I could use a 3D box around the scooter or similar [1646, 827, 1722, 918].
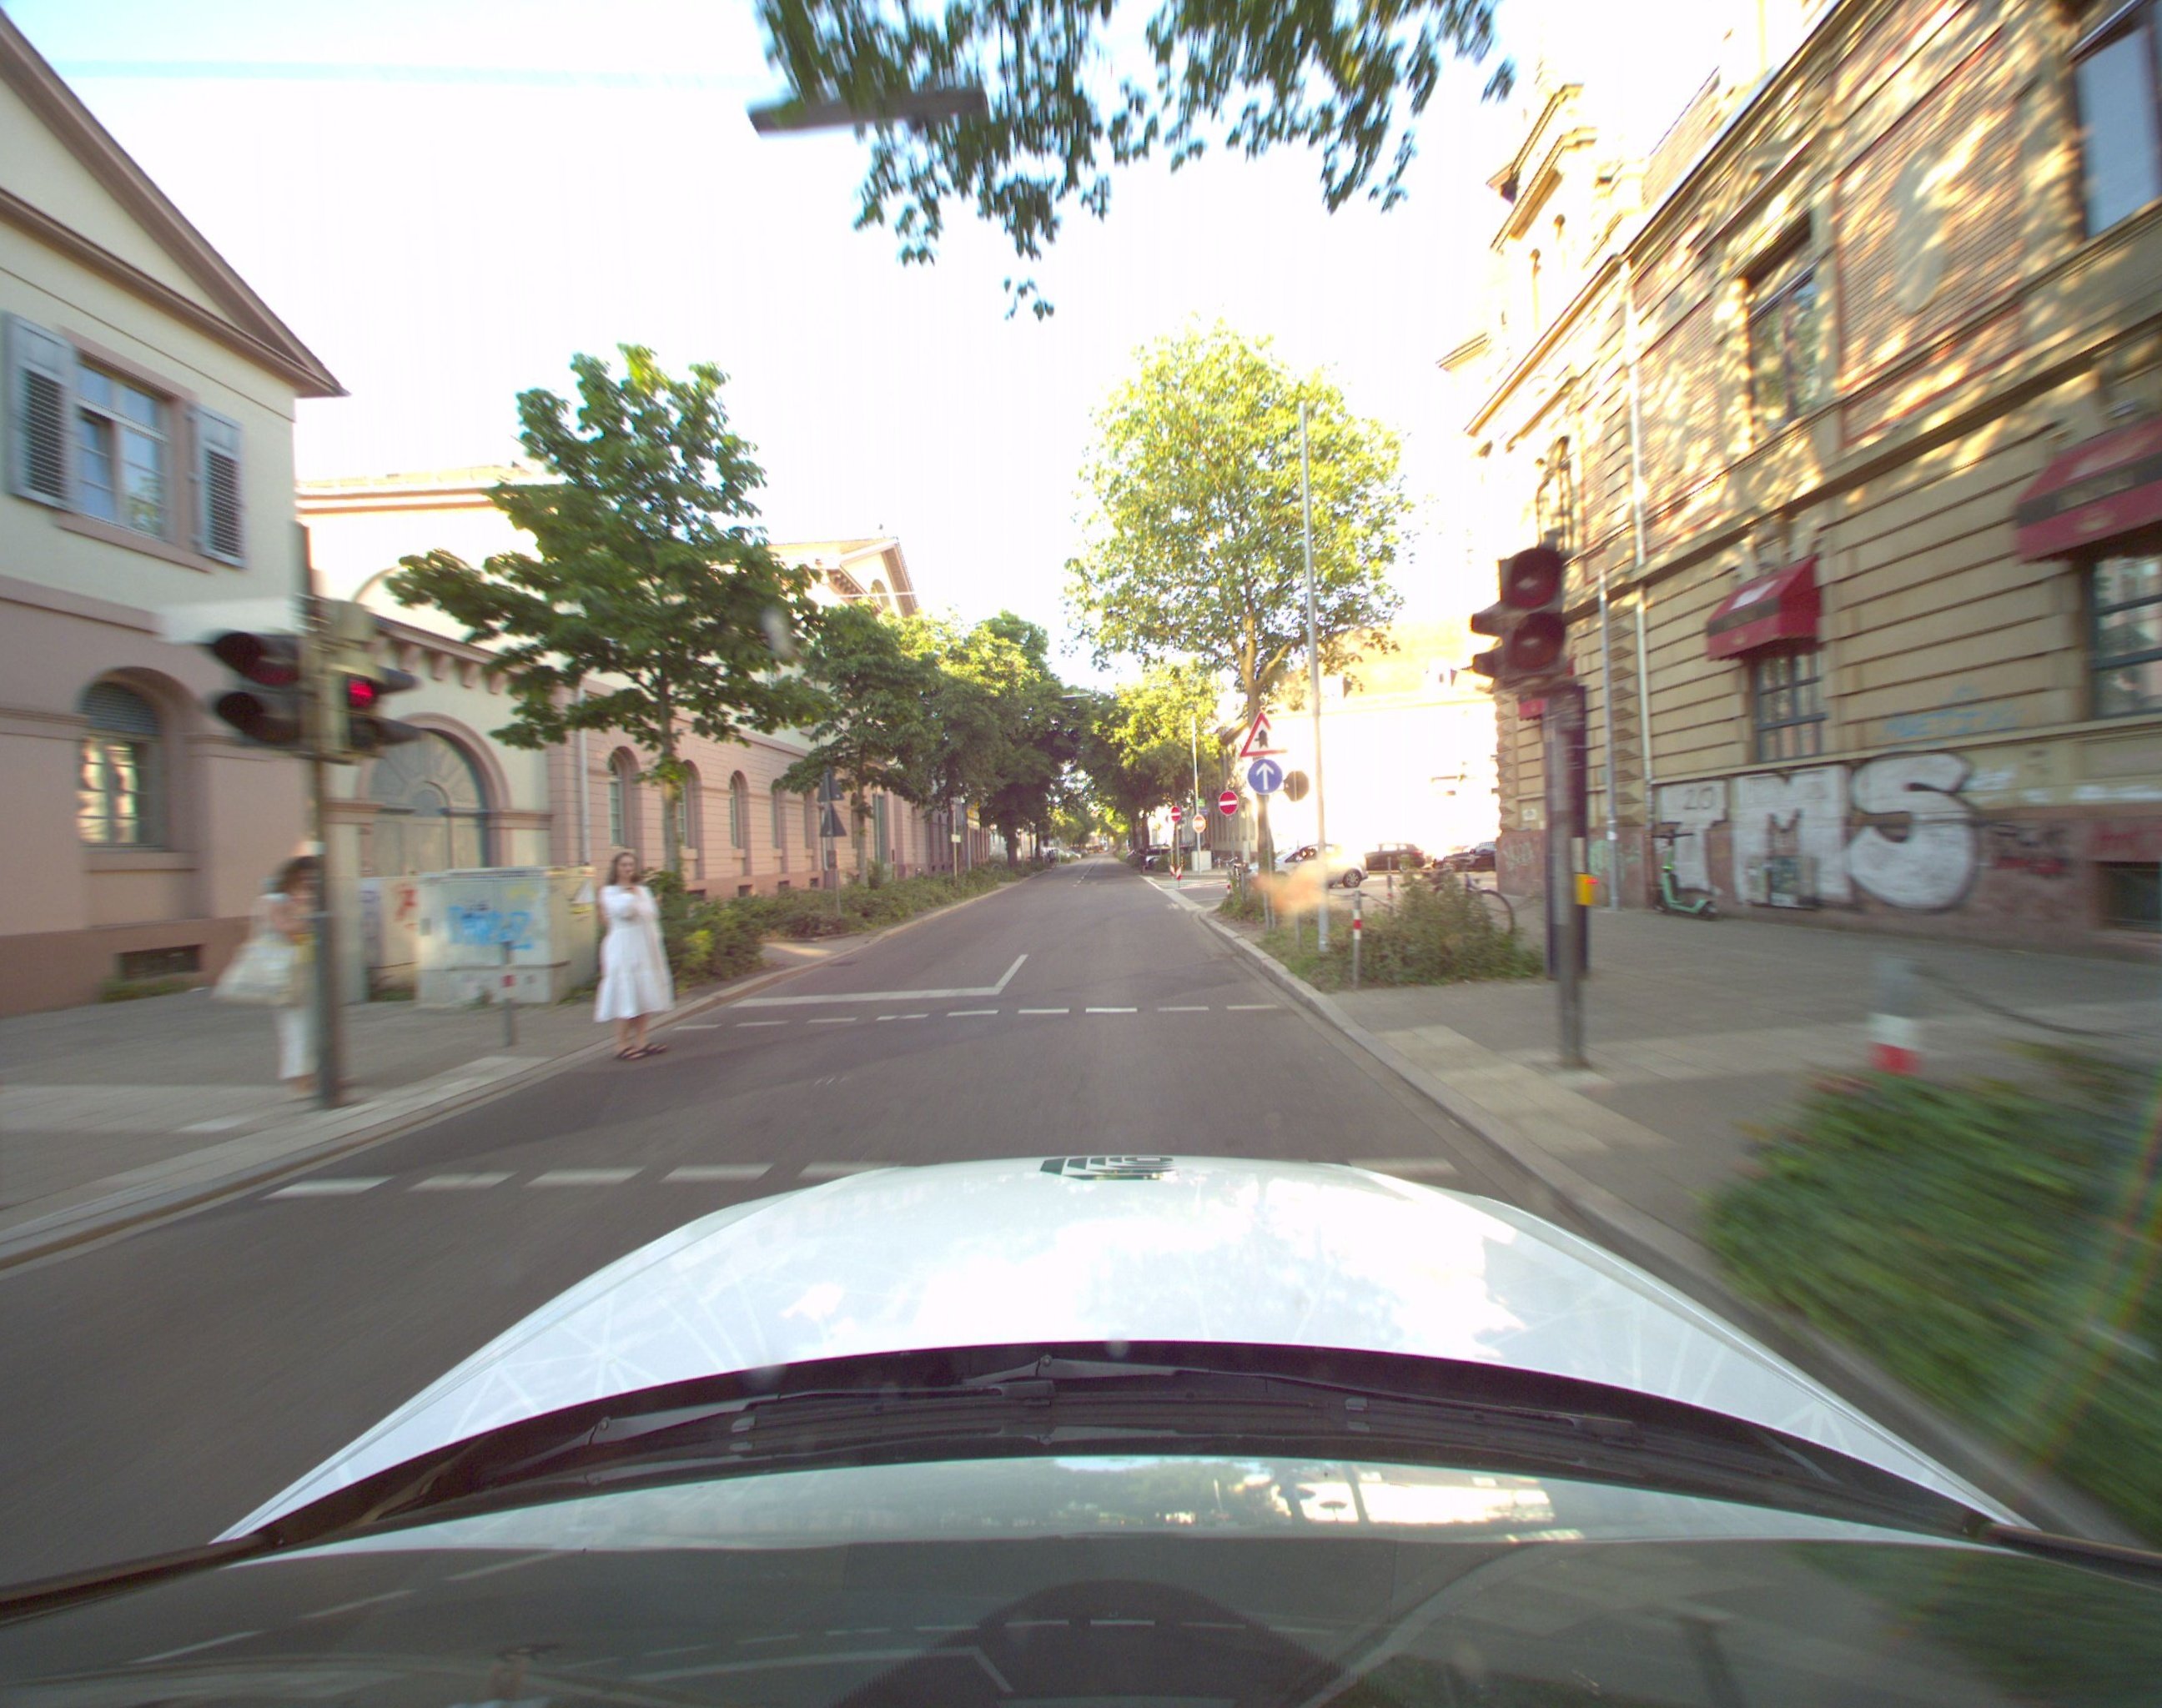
[{"bbox_3d":[8.346,0.248,11.308,0.250,1.194,1.093,-2,0,3],"label":"scooter or similar"}]

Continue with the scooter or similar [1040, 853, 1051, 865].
[{"bbox_3d":[-3.513,0.479,80.328,0.890,1.089,0.848,-1,0,13],"label":"scooter or similar"}]

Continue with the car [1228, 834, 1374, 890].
[{"bbox_3d":[7.384,0.241,27.457,4.345,1.654,1.876,-2,0,-15],"label":"car"}]

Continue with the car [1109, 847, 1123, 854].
[{"bbox_3d":[10.507,-0.944,242.574,3.964,1.837,2.005,-2,0,9],"label":"car"}]

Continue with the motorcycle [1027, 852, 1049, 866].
[{"bbox_3d":[-3.975,0.473,75.413,1.912,1.258,0.591,-3,0,1],"label":"motorcycle"}]

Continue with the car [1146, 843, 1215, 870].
[{"bbox_3d":[6.250,0.133,51.504,4.094,1.490,1.850,-2,1,0],"label":"car"}]

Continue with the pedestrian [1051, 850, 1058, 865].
[{"bbox_3d":[-2.585,0.356,79.655,0.652,1.395,0.607,-1,-1,1],"label":"pedestrian"}]

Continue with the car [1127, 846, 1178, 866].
[{"bbox_3d":[5.813,0.166,66.510,4.001,1.480,1.780,-3,0,0],"label":"car"}]

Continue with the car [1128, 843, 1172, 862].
[{"bbox_3d":[6.561,-0.137,77.761,4.001,1.623,1.780,-3,0,0],"label":"car"}]

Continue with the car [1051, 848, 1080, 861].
[{"bbox_3d":[-2.806,0.085,146.946,5.044,2.083,2.265,-3,0,2],"label":"car"}]

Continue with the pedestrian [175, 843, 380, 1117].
[{"bbox_3d":[-5.727,0.821,5.836,0.783,1.791,0.775,1,1,21],"label":"pedestrian"}]

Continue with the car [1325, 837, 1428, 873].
[{"bbox_3d":[14.195,0.035,39.174,4.368,1.542,1.878,-2,0,27],"label":"car"}]

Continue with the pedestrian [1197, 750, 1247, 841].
[{"bbox_3d":[3.475,-1.426,20.160,1.039,2.146,1.064,-1,-1,2],"label":"pedestrian"}]

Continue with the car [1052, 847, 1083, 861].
[{"bbox_3d":[-2.236,0.030,136.069,5.043,2.083,2.265,-3,0,3],"label":"car"}]

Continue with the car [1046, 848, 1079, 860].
[{"bbox_3d":[-2.979,-0.003,130.683,5.040,1.617,2.266,-3,0,4],"label":"car"}]

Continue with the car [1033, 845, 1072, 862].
[{"bbox_3d":[-3.856,-0.051,110.622,5.046,2.083,2.264,-3,0,1],"label":"car"}]

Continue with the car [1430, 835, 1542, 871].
[{"bbox_3d":[18.455,-0.041,37.297,4.461,1.369,1.786,-2,3,25],"label":"car"}]

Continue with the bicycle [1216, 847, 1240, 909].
[{"bbox_3d":[3.452,0.550,19.097,0.414,1.372,1.293,-3,0,13],"label":"bicycle"}]

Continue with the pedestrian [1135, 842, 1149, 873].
[{"bbox_3d":[3.824,0.224,51.293,0.790,1.868,0.753,-2,0,6],"label":"pedestrian"}]

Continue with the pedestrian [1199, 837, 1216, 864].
[{"bbox_3d":[8.262,-0.249,53.223,0.939,1.706,0.783,-2,1,3],"label":"pedestrian"}]

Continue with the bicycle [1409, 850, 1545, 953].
[{"bbox_3d":[4.972,0.535,10.419,0.522,1.152,2.247,-2,0,-2],"label":"bicycle"}]

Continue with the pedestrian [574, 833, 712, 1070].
[{"bbox_3d":[-3.756,0.788,7.063,0.768,1.888,0.790,-2,0,-10],"label":"pedestrian"}]

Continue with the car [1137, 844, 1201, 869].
[{"bbox_3d":[6.071,0.164,56.476,4.177,1.480,1.853,-4,0,1],"label":"car"}]
